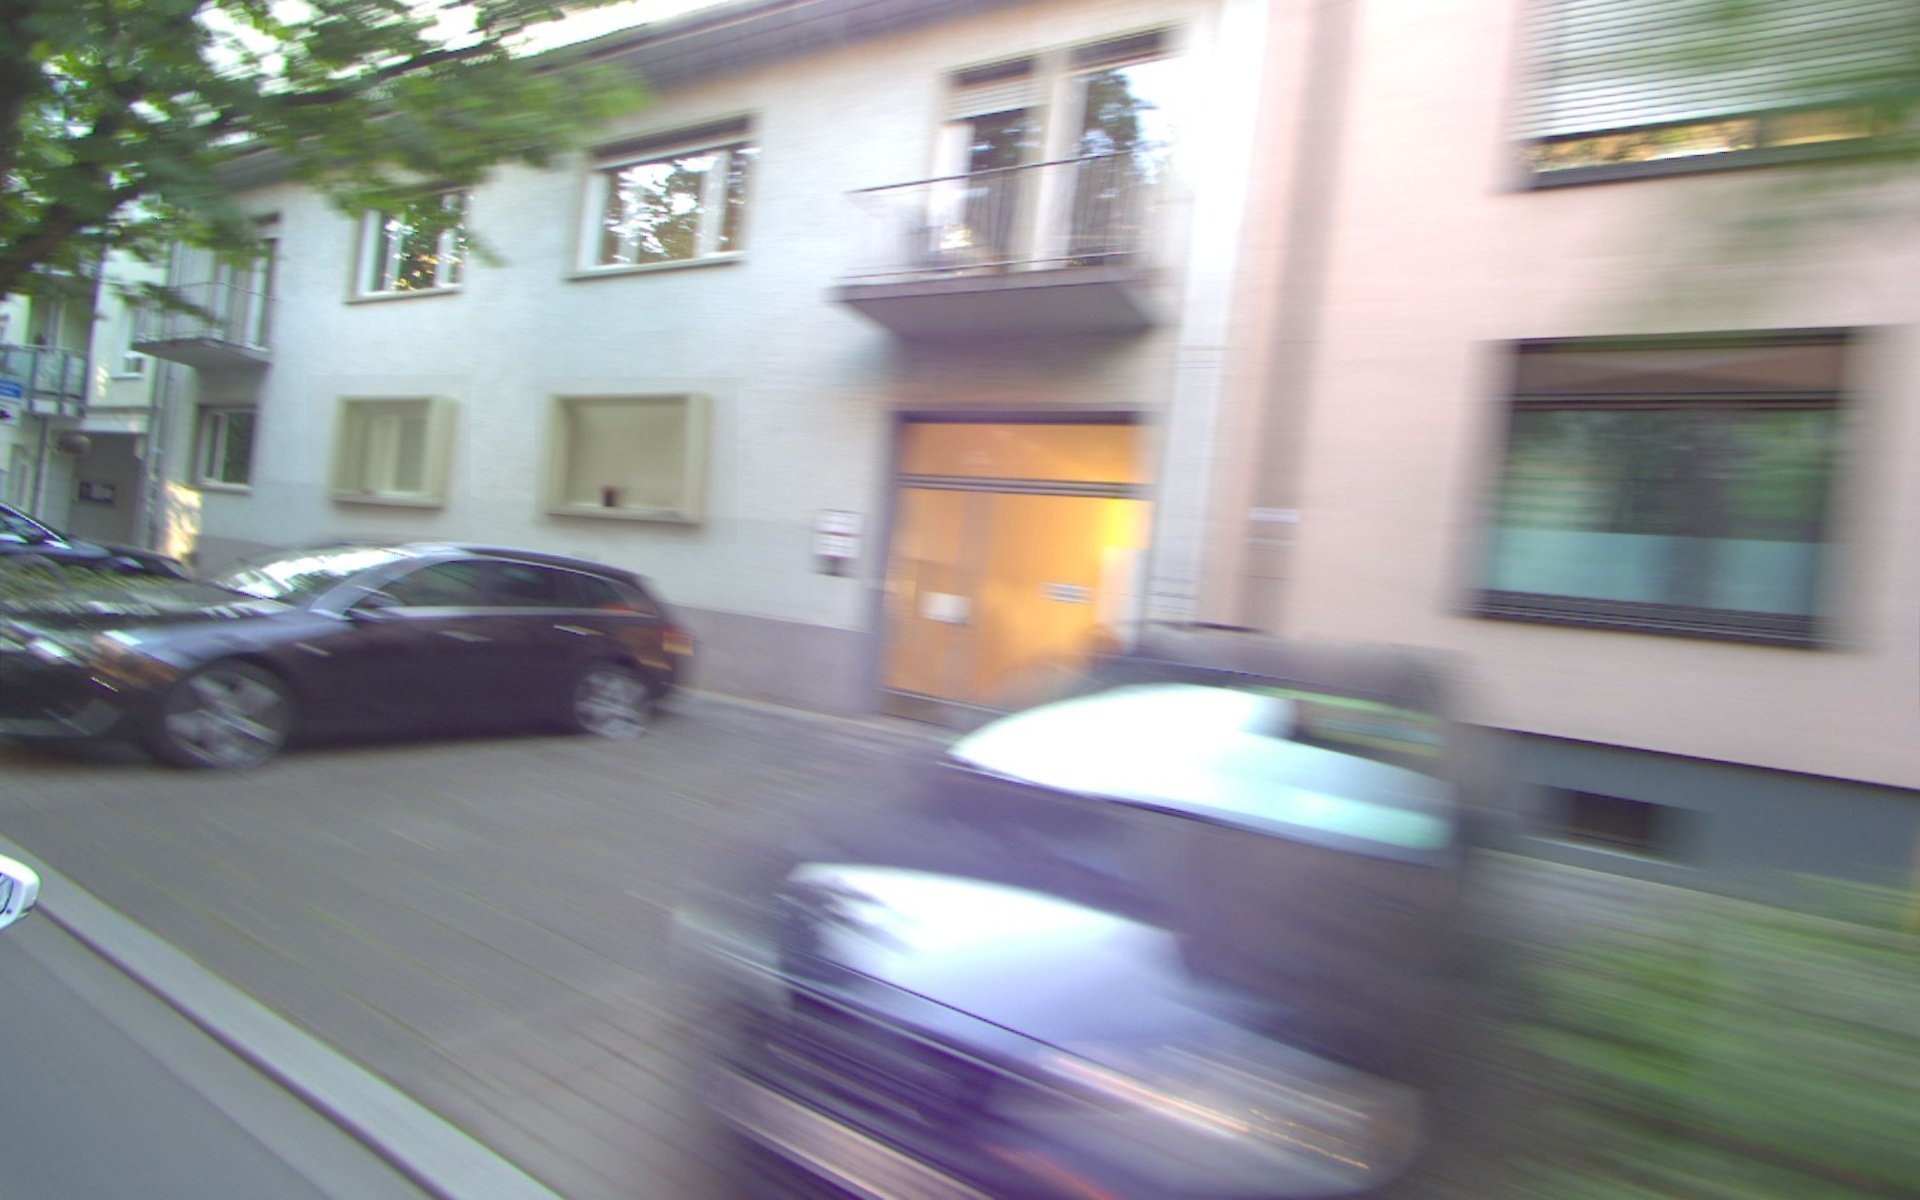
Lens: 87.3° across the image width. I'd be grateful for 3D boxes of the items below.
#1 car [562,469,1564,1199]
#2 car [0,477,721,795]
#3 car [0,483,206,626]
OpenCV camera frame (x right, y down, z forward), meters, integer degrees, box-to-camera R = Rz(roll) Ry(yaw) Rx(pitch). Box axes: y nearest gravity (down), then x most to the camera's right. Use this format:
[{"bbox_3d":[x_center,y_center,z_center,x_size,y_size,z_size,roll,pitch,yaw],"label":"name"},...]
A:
[{"bbox_3d":[1.136,0.851,4.061,1.918,1.730,4.724,8,-1,33],"label":"car"},{"bbox_3d":[-4.208,0.220,7.391,1.930,1.540,4.687,7,0,31],"label":"car"},{"bbox_3d":[-11.827,-0.660,11.645,1.964,1.540,4.508,7,0,35],"label":"car"}]
